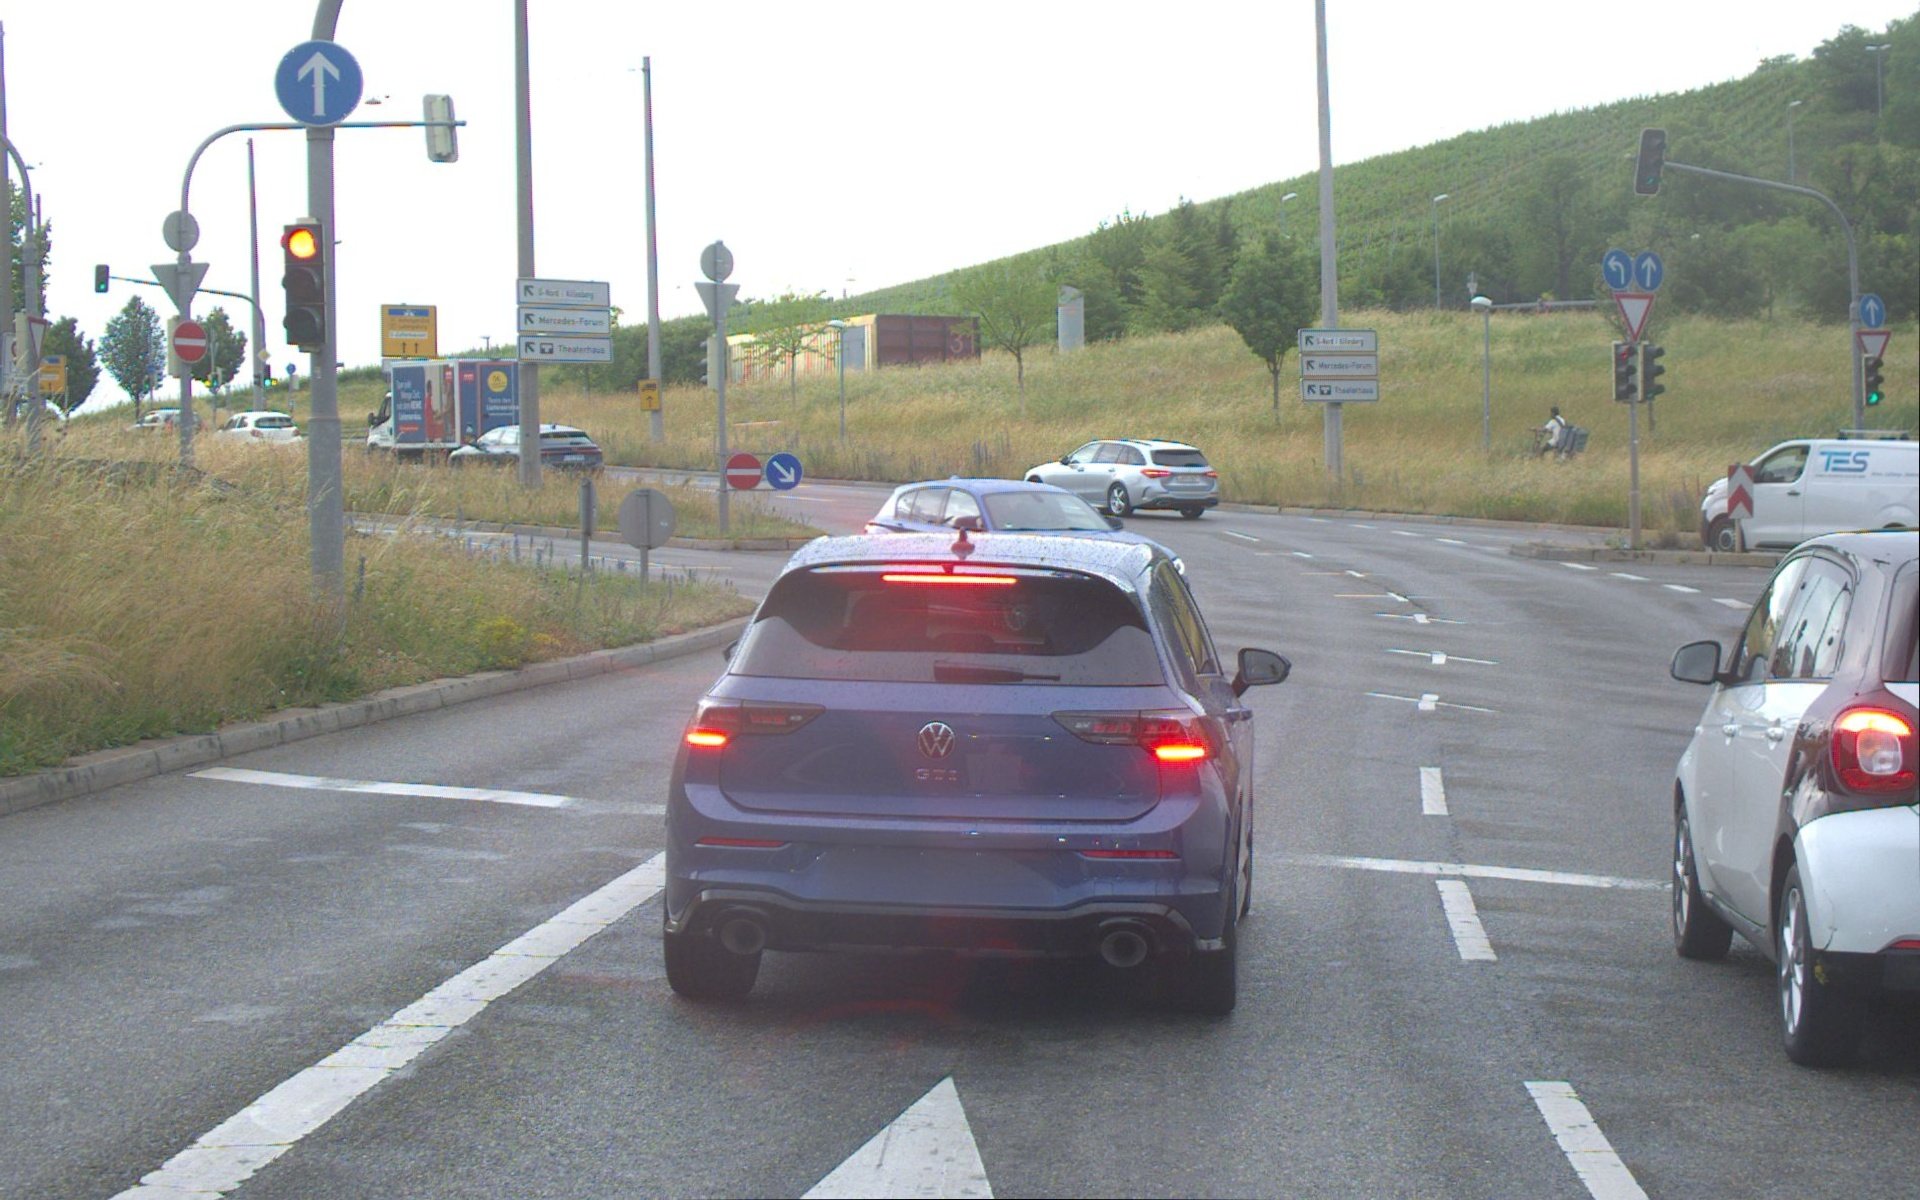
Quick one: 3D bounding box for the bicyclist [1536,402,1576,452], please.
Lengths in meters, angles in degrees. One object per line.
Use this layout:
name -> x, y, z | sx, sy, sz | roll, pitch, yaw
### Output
bicyclist -> 12.947, -3.768, 74.685 | 0.523, 1.043, 0.580 | 2, 2, -40

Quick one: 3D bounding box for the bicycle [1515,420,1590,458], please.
bicycle -> 12.884, -3.509, 74.765 | 0.518, 0.772, 1.620 | 2, 2, -41

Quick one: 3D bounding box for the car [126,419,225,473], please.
car -> -26.078, -5.099, 114.218 | 1.993, 1.654, 4.545 | 0, 1, -29

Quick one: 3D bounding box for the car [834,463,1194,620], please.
car -> 0.473, -0.583, 34.712 | 1.695, 1.470, 4.293 | 0, 1, -29

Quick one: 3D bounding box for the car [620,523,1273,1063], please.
car -> 0.124, 0.494, 11.543 | 1.825, 1.455, 3.808 | 1, 2, 5

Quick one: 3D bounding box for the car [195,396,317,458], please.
car -> -20.953, -5.127, 102.237 | 1.994, 1.654, 4.544 | 0, 1, -34

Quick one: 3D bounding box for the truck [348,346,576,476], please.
truck -> -12.931, -4.911, 88.931 | 3.258, 3.064, 6.176 | 2, 2, -35

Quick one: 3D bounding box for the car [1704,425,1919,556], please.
car -> 13.145, -1.529, 49.225 | 2.129, 1.788, 4.741 | 0, 1, -33

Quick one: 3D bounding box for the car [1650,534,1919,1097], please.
car -> 3.208, 0.565, 10.841 | 1.658, 1.497, 3.450 | 1, 1, 5

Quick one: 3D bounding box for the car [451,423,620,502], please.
car -> -9.539, -3.048, 76.948 | 1.994, 1.654, 4.353 | 0, 1, -34

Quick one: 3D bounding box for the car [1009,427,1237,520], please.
car -> 3.042, -2.362, 65.019 | 1.994, 1.654, 4.544 | 0, 1, -34
